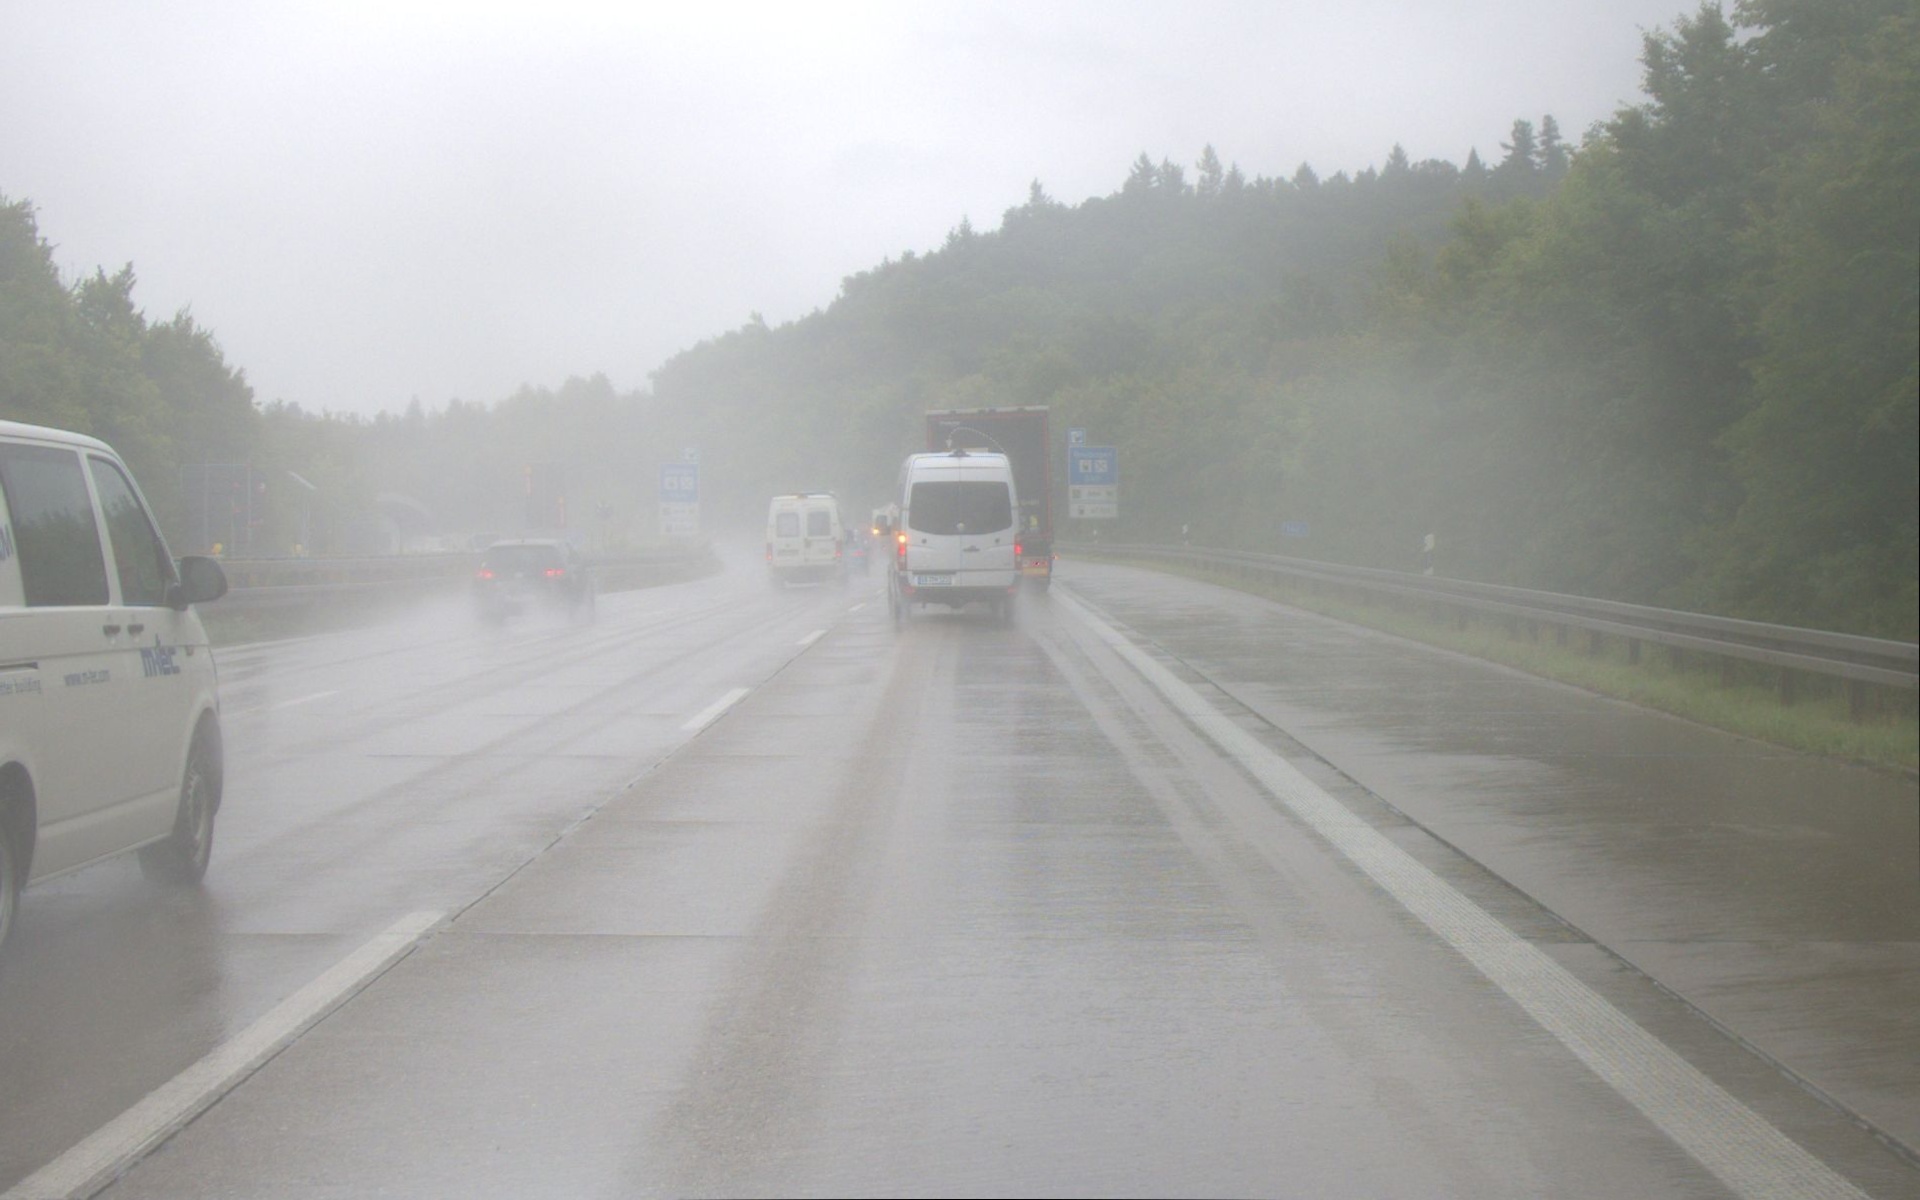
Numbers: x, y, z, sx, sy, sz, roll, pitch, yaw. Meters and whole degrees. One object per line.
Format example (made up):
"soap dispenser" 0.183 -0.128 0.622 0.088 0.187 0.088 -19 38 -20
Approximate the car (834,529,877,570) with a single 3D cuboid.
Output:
"car" -4.788 -2.328 158.402 1.868 1.803 4.189 2 1 -1

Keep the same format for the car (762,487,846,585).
"car" -4.084 -1.692 90.668 1.997 2.423 5.791 2 1 -1

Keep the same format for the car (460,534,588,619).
"car" -7.333 -0.413 58.159 1.740 1.383 4.322 0 1 -2

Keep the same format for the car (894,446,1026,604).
"car" -0.050 -1.197 55.184 1.899 2.326 5.251 2 1 -1

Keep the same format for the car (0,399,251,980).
"car" -4.073 0.255 12.660 1.899 1.887 5.043 0 1 0

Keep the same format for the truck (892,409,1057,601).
"truck" 0.258 -2.206 75.817 3.385 3.954 8.668 -1 3 -1
